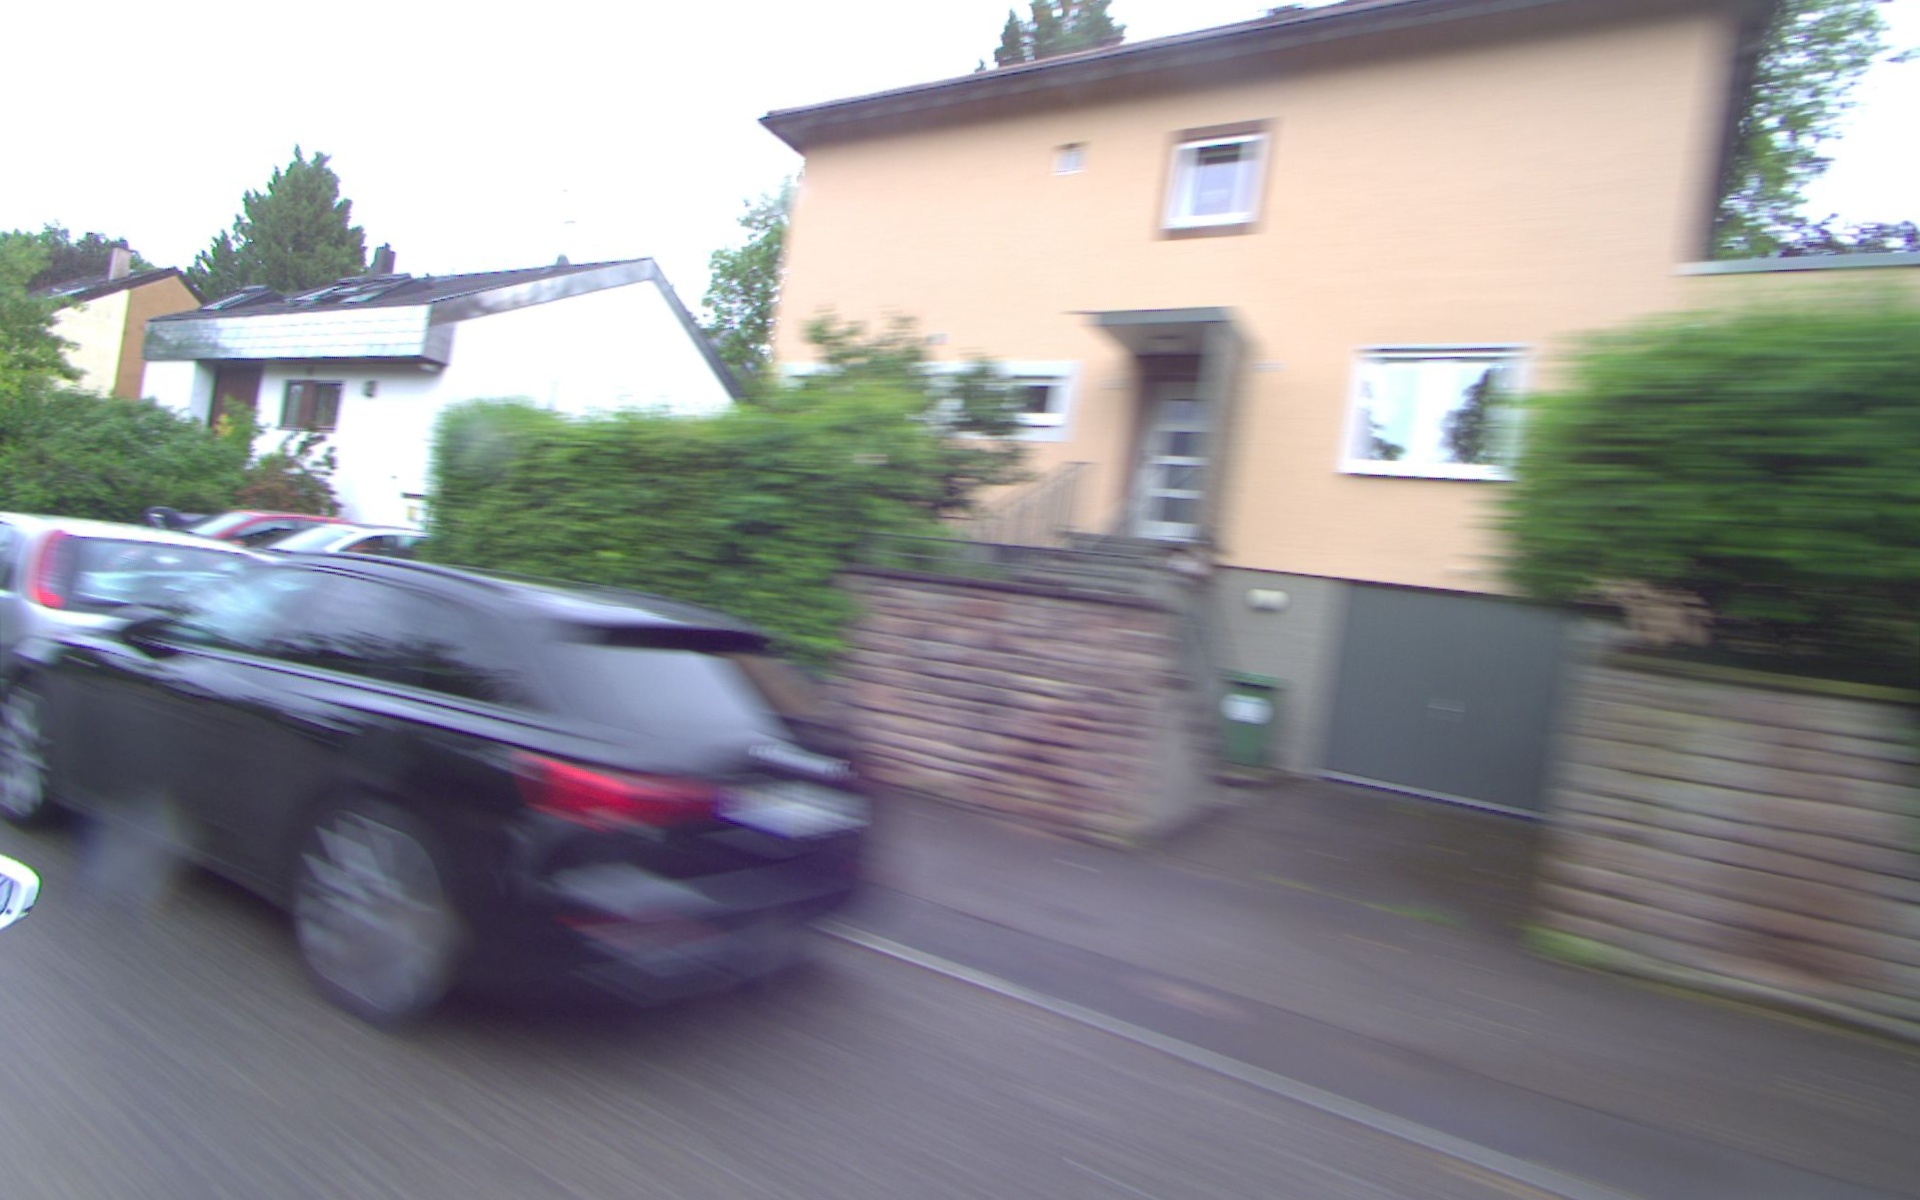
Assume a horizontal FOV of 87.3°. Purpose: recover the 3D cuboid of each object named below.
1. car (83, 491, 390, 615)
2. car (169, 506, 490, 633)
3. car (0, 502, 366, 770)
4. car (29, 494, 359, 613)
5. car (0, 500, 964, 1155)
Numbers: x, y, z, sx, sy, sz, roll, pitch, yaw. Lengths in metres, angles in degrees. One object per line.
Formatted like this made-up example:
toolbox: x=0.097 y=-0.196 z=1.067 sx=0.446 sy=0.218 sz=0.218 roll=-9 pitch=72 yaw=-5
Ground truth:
car: x=-11.918 y=-0.715 z=16.799 sx=1.851 sy=1.585 sz=3.662 roll=7 pitch=0 yaw=31
car: x=-9.403 y=-0.382 z=15.298 sx=1.797 sy=1.556 sz=3.661 roll=7 pitch=2 yaw=28
car: x=-6.319 y=0.105 z=7.101 sx=4.033 sy=1.414 sz=1.817 roll=6 pitch=-2 yaw=30
car: x=-13.535 y=-0.756 z=18.067 sx=1.851 sy=1.477 sz=4.253 roll=6 pitch=-2 yaw=31
car: x=-2.469 y=0.555 z=4.577 sx=4.552 sy=1.565 sz=1.833 roll=6 pitch=-2 yaw=31
